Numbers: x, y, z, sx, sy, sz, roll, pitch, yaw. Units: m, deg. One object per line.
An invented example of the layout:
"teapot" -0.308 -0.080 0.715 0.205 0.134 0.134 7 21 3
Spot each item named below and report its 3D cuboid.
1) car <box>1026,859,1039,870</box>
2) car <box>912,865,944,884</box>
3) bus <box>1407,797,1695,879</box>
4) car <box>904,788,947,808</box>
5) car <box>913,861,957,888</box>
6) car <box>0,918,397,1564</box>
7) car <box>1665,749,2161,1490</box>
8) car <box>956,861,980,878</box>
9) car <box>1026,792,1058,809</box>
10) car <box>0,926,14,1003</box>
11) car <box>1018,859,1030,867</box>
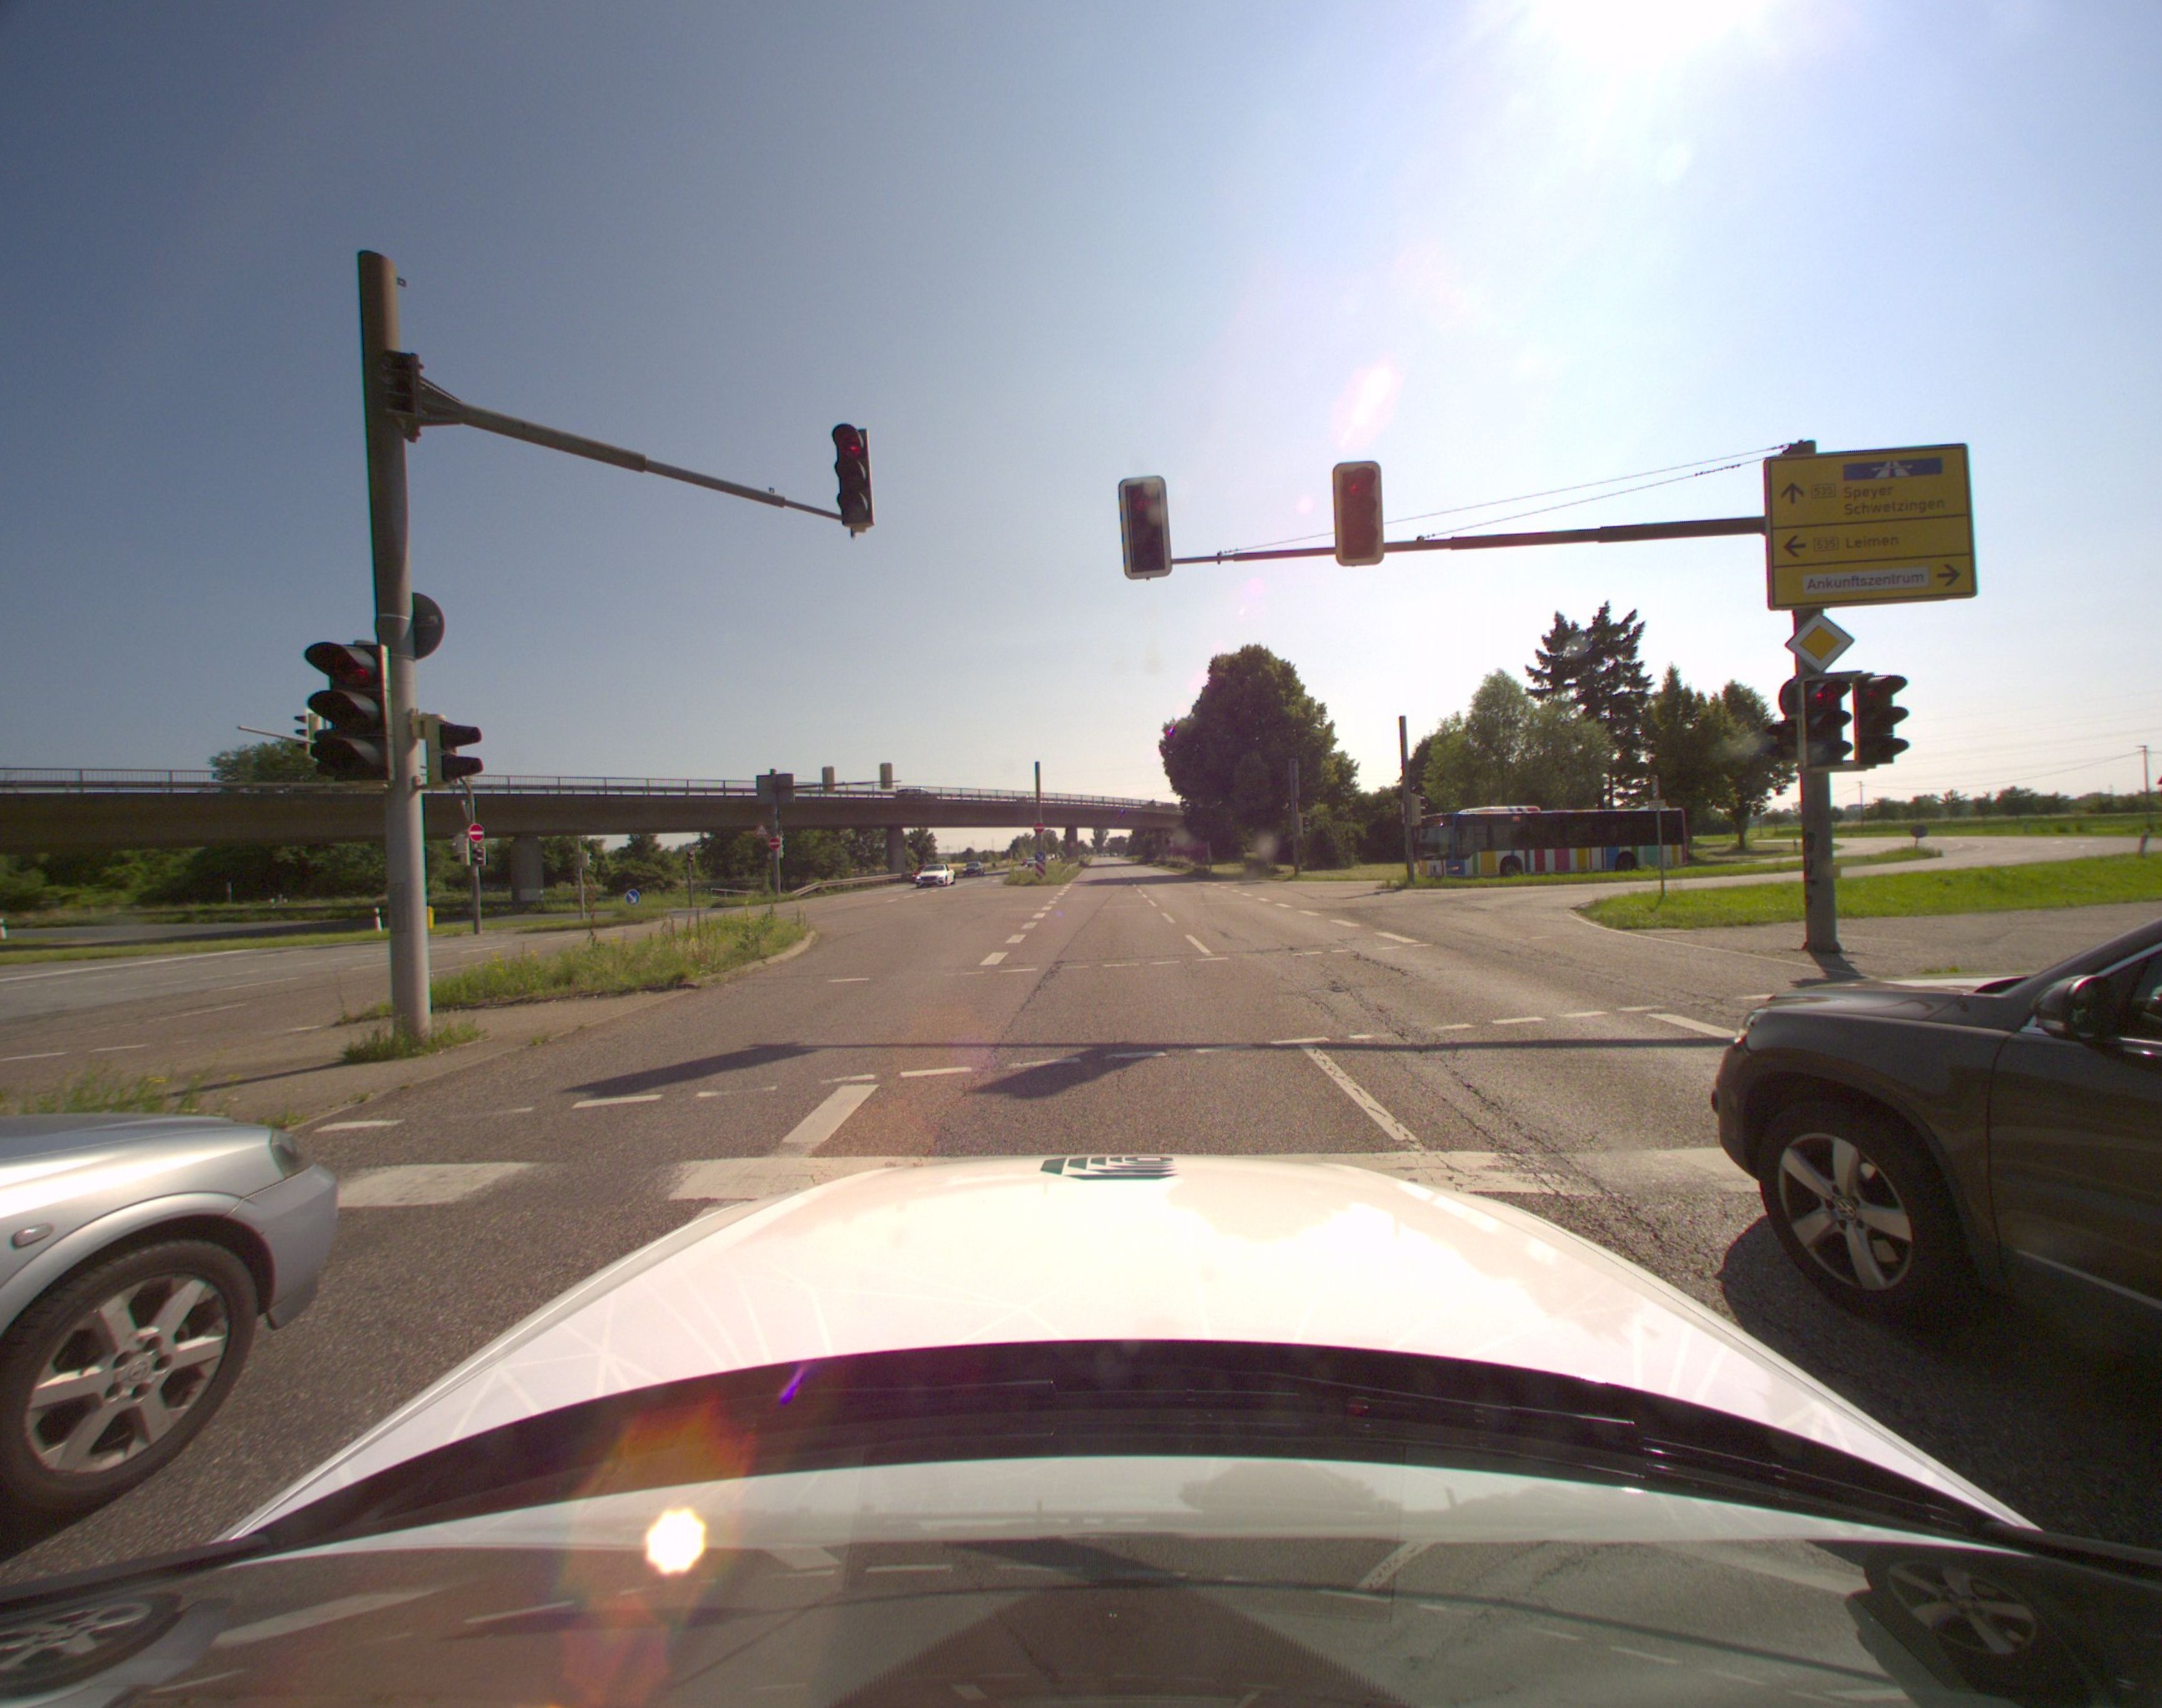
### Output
"car" -7.305 1.507 122.332 1.551 1.540 4.001 -3 0 2
"car" -12.367 1.647 65.869 1.634 1.385 4.241 -3 0 1
"bus" 20.224 -0.710 35.022 11.954 2.877 2.928 -3 0 -14
"car" -13.482 -4.862 70.628 1.521 1.477 3.413 -5 -1 36
"car" -9.213 1.276 51.698 1.850 1.448 4.241 -5 0 1
"car" -3.264 0.924 0.738 1.667 1.335 4.100 -3 0 2
"car" 3.271 0.583 1.307 1.749 1.655 4.147 -1 0 1
"car" -11.927 1.610 86.135 1.784 1.628 4.000 -3 0 1
"car" -4.072 -5.570 85.797 1.721 1.469 3.773 -1 -1 29
"car" -22.545 2.207 14.610 4.103 1.424 1.869 -3 0 -3
"car" -11.596 1.833 165.620 1.985 1.558 4.003 -3 0 3
